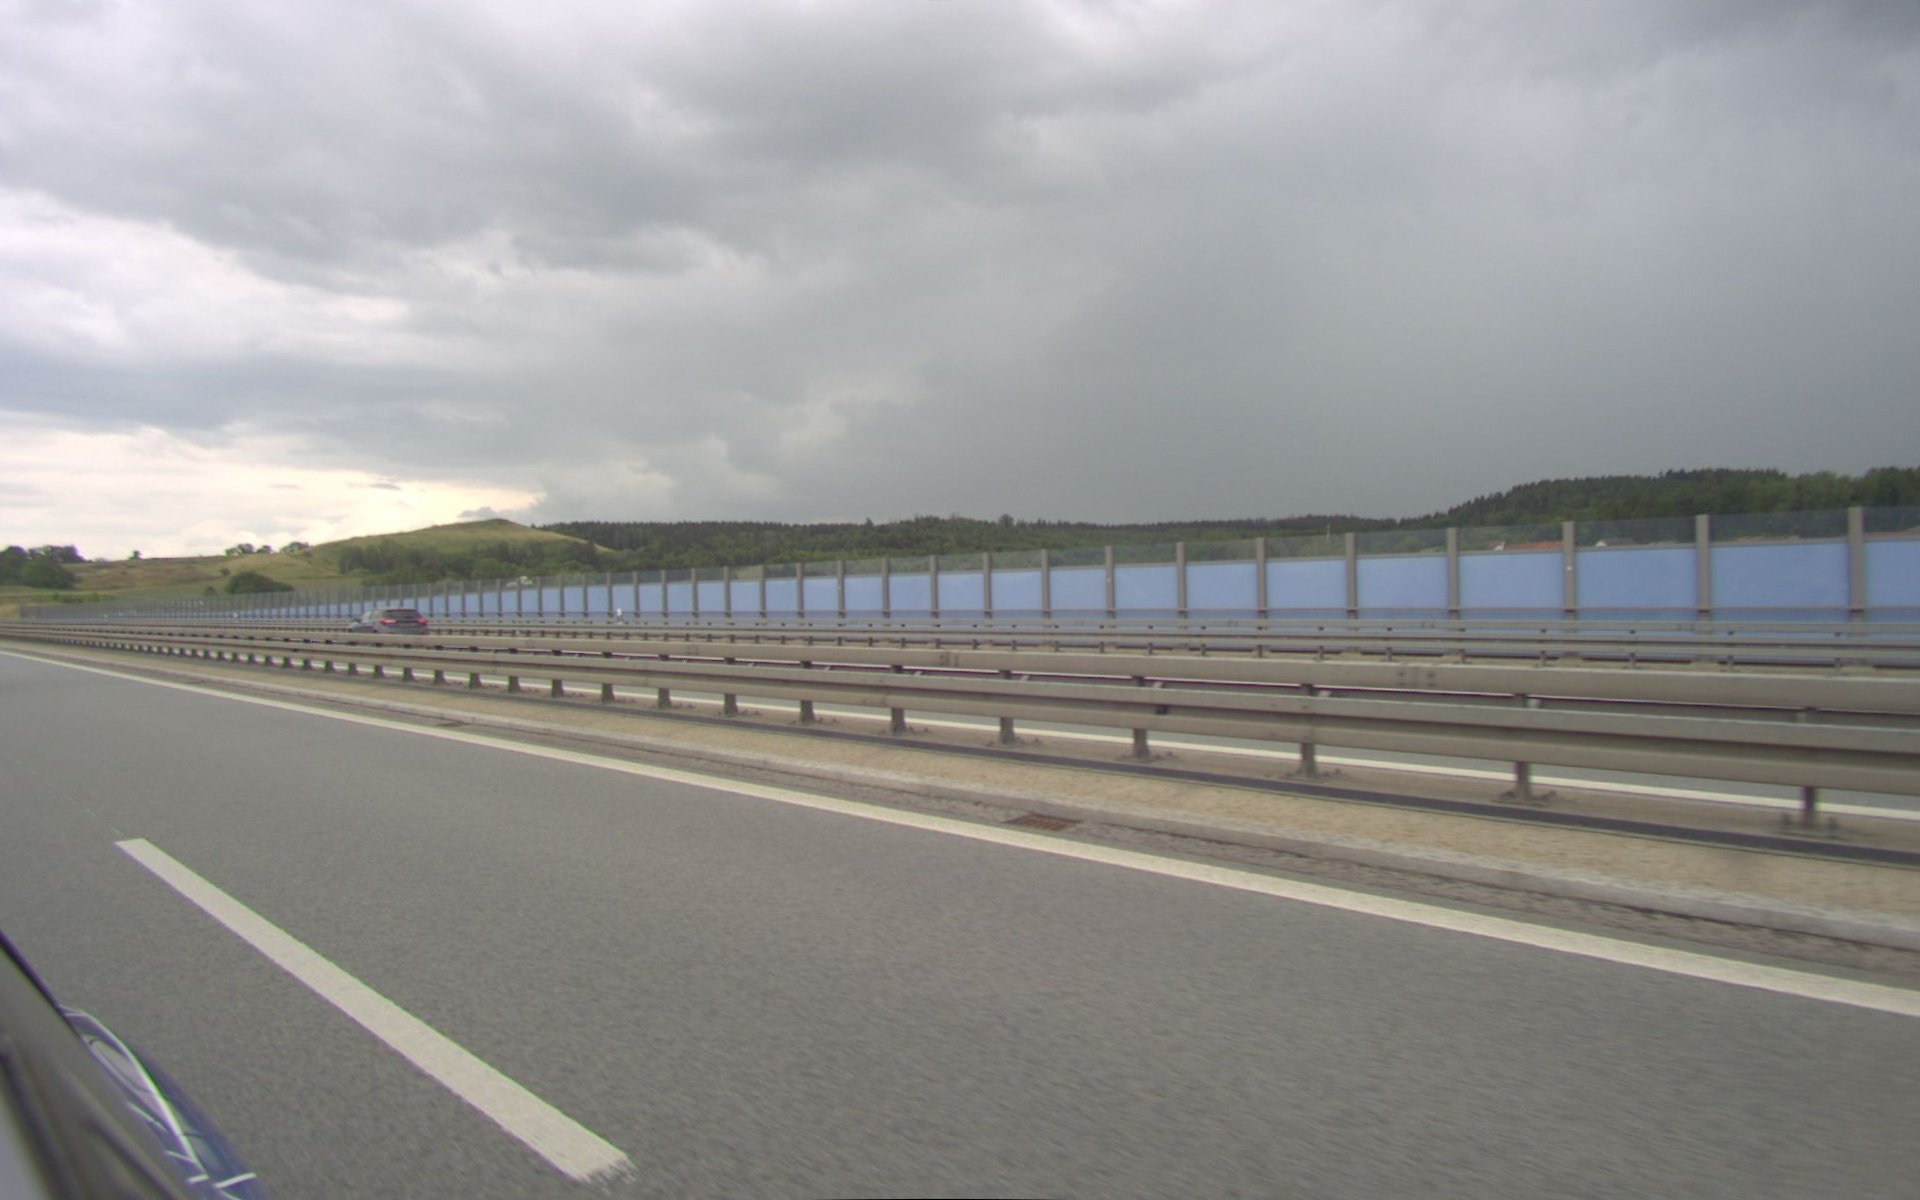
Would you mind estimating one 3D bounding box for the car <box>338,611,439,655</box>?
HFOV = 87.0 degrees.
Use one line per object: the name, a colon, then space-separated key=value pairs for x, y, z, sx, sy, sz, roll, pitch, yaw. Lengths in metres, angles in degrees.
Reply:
car: x=-21.364 y=1.196 z=37.760 sx=4.285 sy=1.526 sz=1.973 roll=-1 pitch=-1 yaw=41
